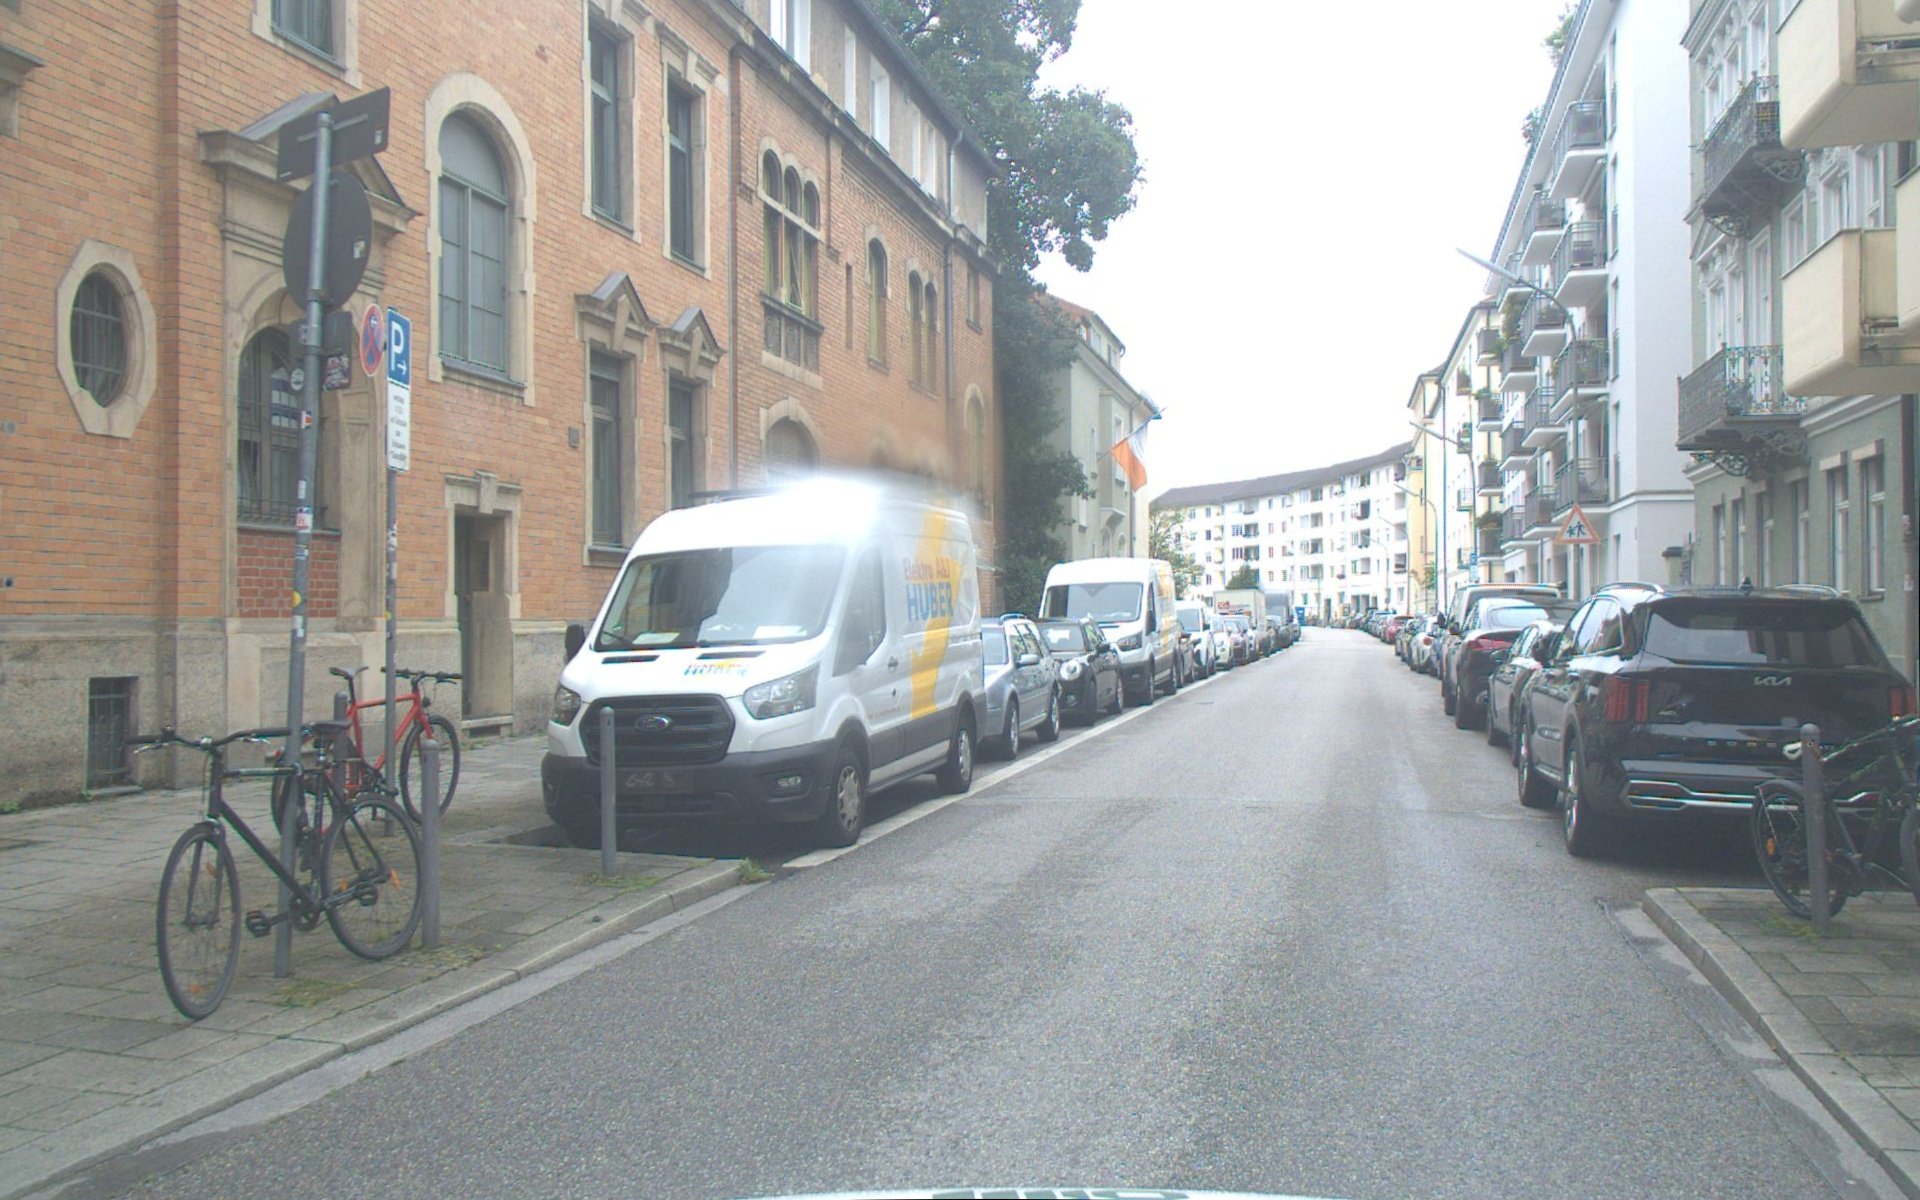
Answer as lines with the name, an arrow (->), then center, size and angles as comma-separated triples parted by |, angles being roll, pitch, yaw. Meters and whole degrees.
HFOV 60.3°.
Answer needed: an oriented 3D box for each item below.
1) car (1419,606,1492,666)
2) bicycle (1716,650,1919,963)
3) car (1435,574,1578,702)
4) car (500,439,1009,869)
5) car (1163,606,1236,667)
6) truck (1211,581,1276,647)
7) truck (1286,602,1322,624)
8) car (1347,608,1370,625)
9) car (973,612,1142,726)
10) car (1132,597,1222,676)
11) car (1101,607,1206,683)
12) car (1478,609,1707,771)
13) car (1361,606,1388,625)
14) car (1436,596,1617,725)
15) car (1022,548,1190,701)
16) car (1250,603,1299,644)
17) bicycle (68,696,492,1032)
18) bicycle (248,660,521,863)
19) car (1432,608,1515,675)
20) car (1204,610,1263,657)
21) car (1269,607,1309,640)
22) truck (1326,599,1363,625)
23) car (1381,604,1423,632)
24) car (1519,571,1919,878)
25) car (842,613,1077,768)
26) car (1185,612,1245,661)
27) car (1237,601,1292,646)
car -> 12.681, 0.907, 42.485 | 1.614, 1.459, 4.003 | -1, -1, 15
bicycle -> 3.995, 0.821, 7.143 | 0.567, 1.174, 1.963 | -1, -1, 1
car -> 9.254, 0.637, 28.354 | 1.830, 2.002, 4.820 | -1, -1, 13
car -> -1.198, 0.386, 12.587 | 1.950, 2.511, 5.475 | -3, -1, 14
car -> 6.619, 0.986, 45.422 | 1.806, 1.567, 4.003 | -1, -1, 10
truck -> 10.690, 0.533, 62.110 | 1.951, 2.360, 5.413 | -1, -1, 14
truck -> 36.655, 1.367, 176.349 | 2.568, 2.341, 5.439 | 0, 0, -1
car -> 35.452, 1.453, 147.171 | 1.744, 1.409, 4.003 | -1, 0, 10
car -> 1.472, 0.931, 23.487 | 1.662, 1.456, 3.833 | -2, -1, 14
car -> 5.146, 0.842, 38.852 | 1.782, 1.741, 4.003 | -1, -1, 11
car -> 4.049, 0.905, 34.079 | 1.707, 1.470, 4.003 | -1, -1, 13
car -> 6.647, 0.865, 17.800 | 1.690, 1.485, 4.420 | 1, 0, 13
car -> 32.534, 1.203, 129.979 | 1.744, 1.409, 4.003 | -1, 0, 10
car -> 7.673, 0.791, 22.798 | 1.820, 1.578, 4.757 | -1, -1, 13
car -> 2.650, 0.432, 28.702 | 2.091, 2.391, 5.374 | -1, -1, 14
car -> 14.436, 1.081, 75.762 | 1.951, 1.793, 4.384 | -1, -1, 14
bicycle -> -2.616, 0.957, 6.595 | 0.567, 1.072, 1.763 | -1, -1, 17
bicycle -> -3.482, 0.936, 10.204 | 0.567, 1.072, 1.895 | 0, -1, 17
car -> 11.791, 0.938, 38.108 | 1.574, 1.459, 3.622 | -1, -1, 14
car -> 9.242, 1.127, 55.716 | 1.757, 1.494, 3.870 | -1, -1, 12
car -> 18.586, 1.321, 93.370 | 1.951, 1.793, 4.384 | -1, -1, 14
truck -> 35.915, 1.139, 154.512 | 2.180, 2.341, 5.289 | -1, 0, 0
car -> 23.245, 0.941, 87.025 | 1.744, 1.409, 4.003 | -1, 0, 10
car -> 5.056, 0.717, 11.371 | 1.810, 1.667, 4.553 | -1, -1, 13
car -> 0.114, 0.922, 18.413 | 1.653, 1.480, 4.000 | -3, -1, 14
car -> 7.749, 1.094, 50.108 | 1.714, 1.392, 4.003 | -1, -1, 10
car -> 12.802, 0.996, 69.374 | 1.951, 1.793, 4.384 | -1, -1, 14
